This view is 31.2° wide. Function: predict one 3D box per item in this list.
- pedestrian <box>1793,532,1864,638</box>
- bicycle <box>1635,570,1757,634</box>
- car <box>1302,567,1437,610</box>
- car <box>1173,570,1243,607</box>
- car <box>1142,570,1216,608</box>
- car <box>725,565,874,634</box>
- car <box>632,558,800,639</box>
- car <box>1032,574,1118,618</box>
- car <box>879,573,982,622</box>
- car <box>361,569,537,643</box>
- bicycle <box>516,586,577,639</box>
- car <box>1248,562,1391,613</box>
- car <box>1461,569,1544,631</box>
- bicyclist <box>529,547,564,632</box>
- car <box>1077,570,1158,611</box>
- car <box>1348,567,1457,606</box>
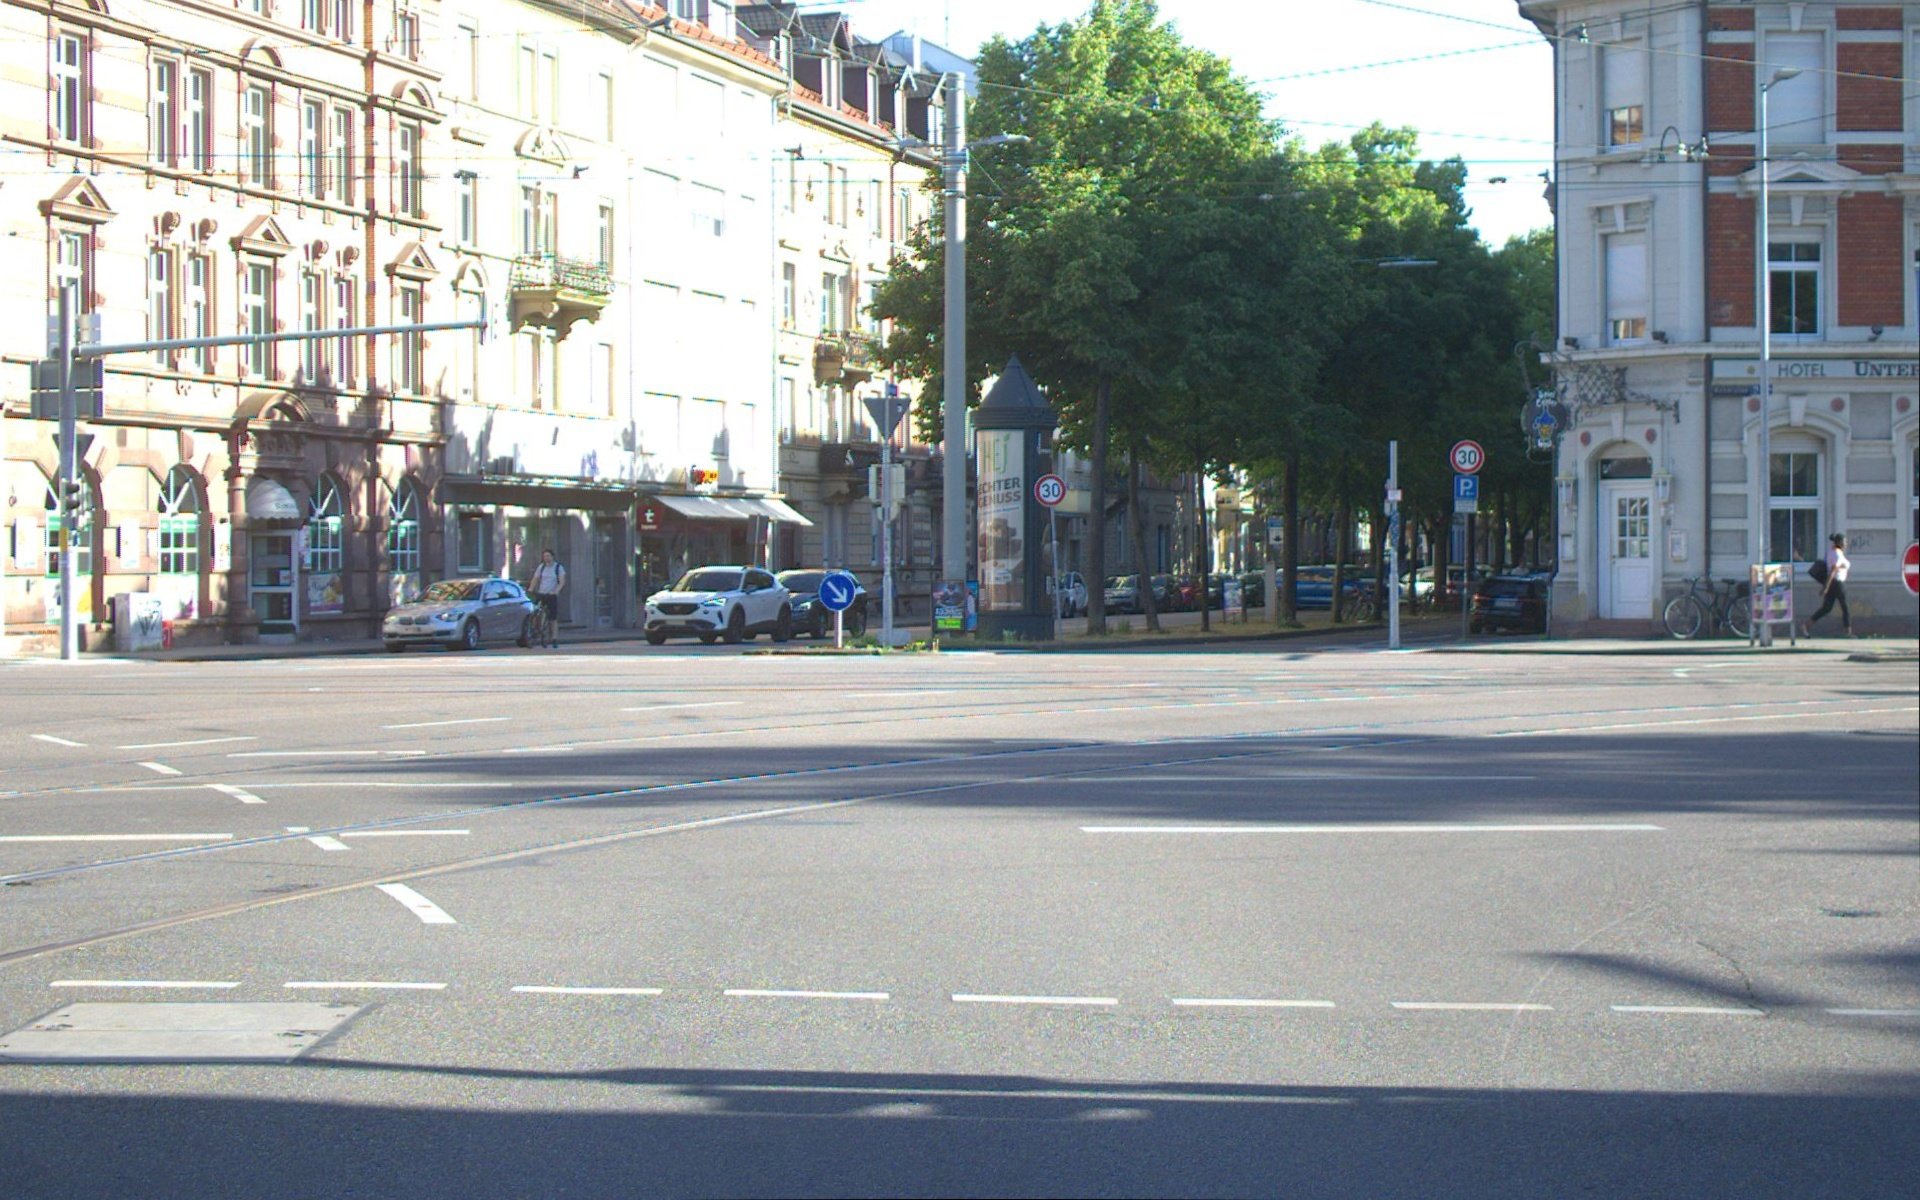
[{"bbox_3d":[14.272,-0.250,56.510,1.036,1.706,0.629,1,0,9],"label":"pedestrian"},{"bbox_3d":[12.268,0.024,57.351,1.953,1.050,0.715,0,1,10],"label":"bicycle"},{"bbox_3d":[12.574,-0.352,105.402,3.989,1.284,1.694,0,1,11],"label":"car"},{"bbox_3d":[9.877,-0.455,136.612,1.995,1.400,4.166,0,1,16],"label":"car"},{"bbox_3d":[8.400,-0.423,131.416,1.995,1.400,4.166,0,1,16],"label":"car"},{"bbox_3d":[-3.401,-0.043,73.652,1.995,1.400,4.166,0,1,16],"label":"car"},{"bbox_3d":[-4.754,-0.055,67.479,1.995,1.511,4.166,0,1,16],"label":"car"},{"bbox_3d":[3.935,-0.155,116.869,1.995,1.400,4.166,0,1,16],"label":"car"},{"bbox_3d":[-0.846,-0.096,102.099,1.995,1.400,4.166,0,1,16],"label":"car"},{"bbox_3d":[-9.929,0.100,67.052,1.995,1.357,3.816,0,1,16],"label":"car"},{"bbox_3d":[-7.849,0.230,65.309,0.655,0.997,1.664,1,1,12],"label":"bicycle"},{"bbox_3d":[10.444,-0.365,99.693,3.989,1.450,1.681,0,1,11],"label":"car"},{"bbox_3d":[13.045,-0.028,82.538,1.756,1.415,3.998,0,1,12],"label":"car"},{"bbox_3d":[-7.841,-0.204,65.202,0.489,1.596,0.666,0,1,10],"label":"bicyclist"},{"bbox_3d":[5.648,-0.345,122.588,1.995,1.400,4.166,0,1,16],"label":"car"},{"bbox_3d":[14.359,-0.434,111.475,3.435,1.235,1.576,0,1,11],"label":"car"}]
